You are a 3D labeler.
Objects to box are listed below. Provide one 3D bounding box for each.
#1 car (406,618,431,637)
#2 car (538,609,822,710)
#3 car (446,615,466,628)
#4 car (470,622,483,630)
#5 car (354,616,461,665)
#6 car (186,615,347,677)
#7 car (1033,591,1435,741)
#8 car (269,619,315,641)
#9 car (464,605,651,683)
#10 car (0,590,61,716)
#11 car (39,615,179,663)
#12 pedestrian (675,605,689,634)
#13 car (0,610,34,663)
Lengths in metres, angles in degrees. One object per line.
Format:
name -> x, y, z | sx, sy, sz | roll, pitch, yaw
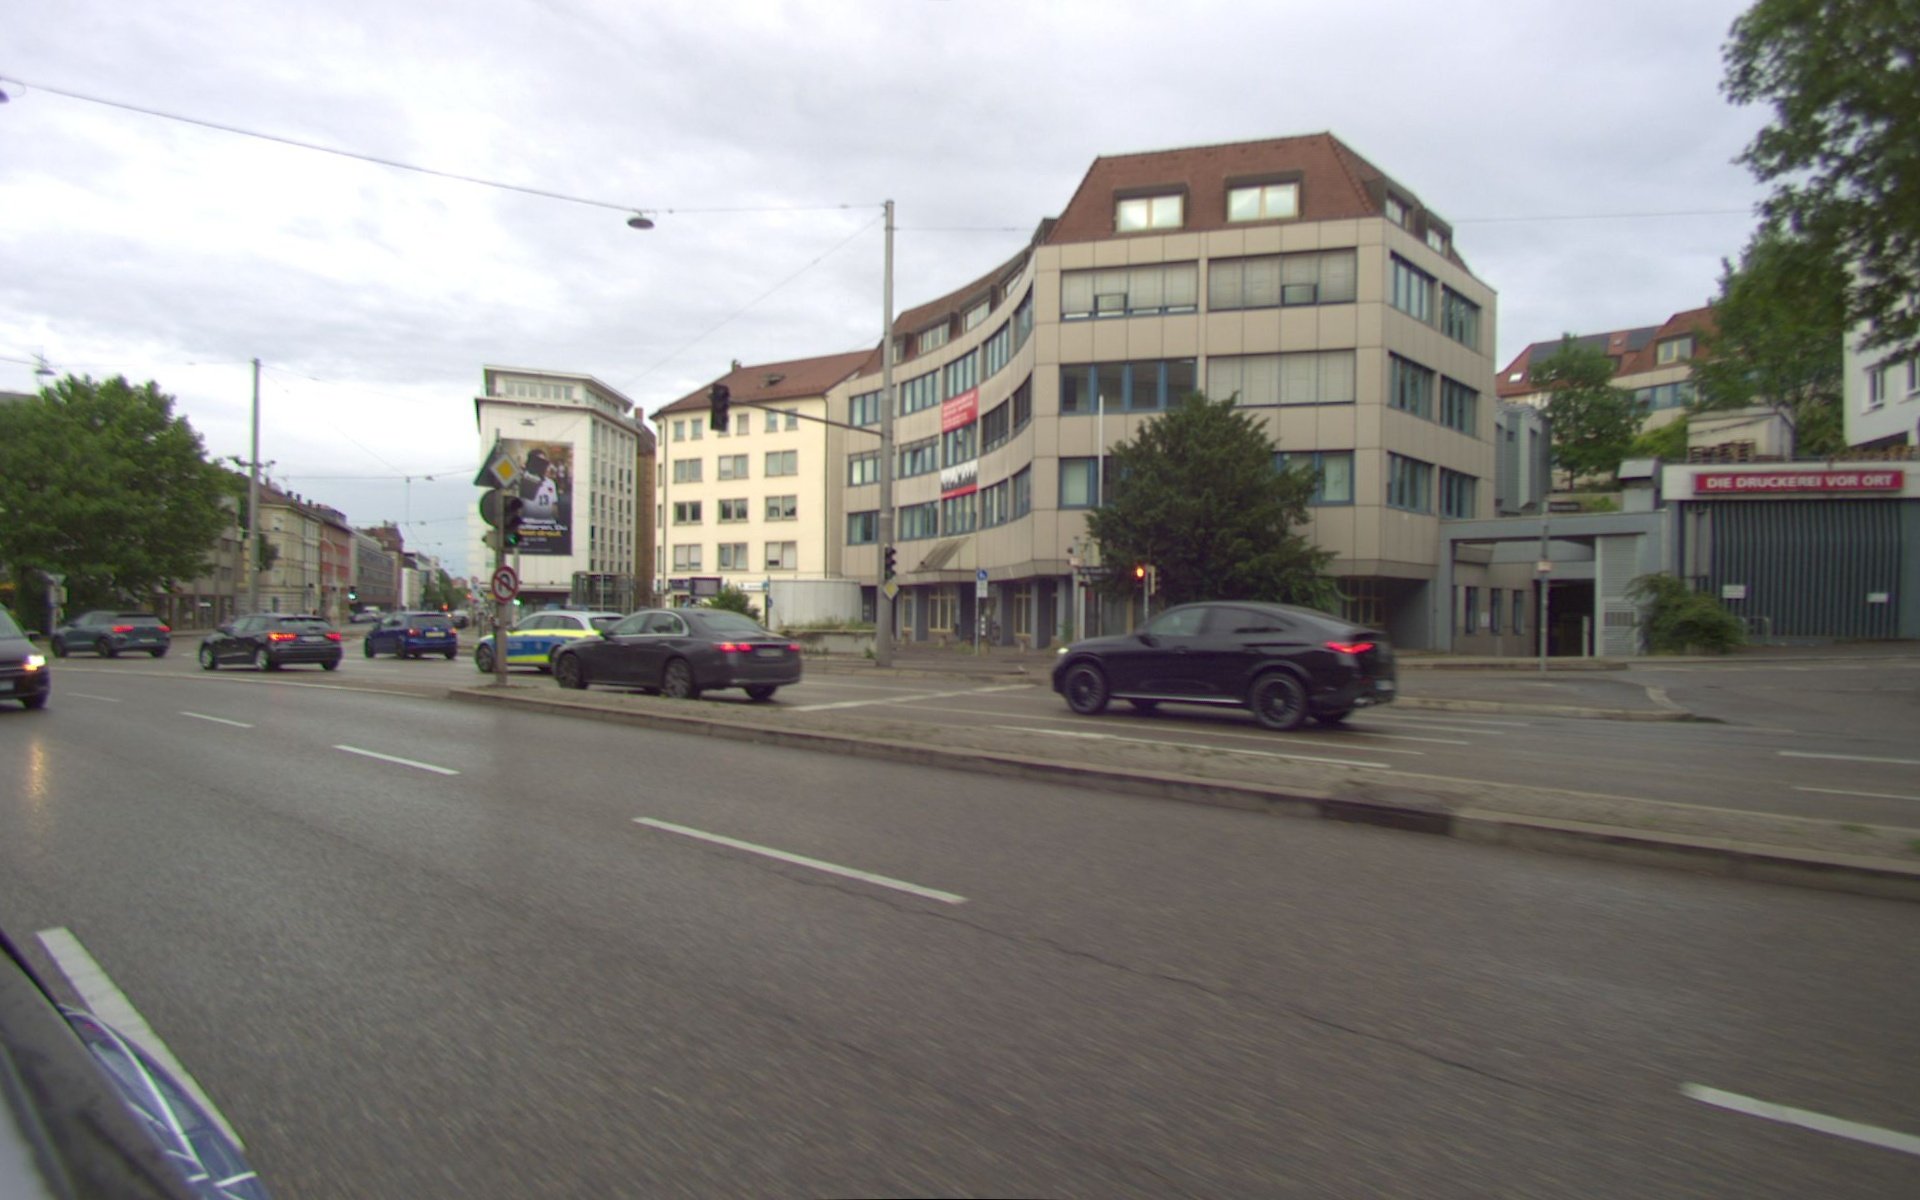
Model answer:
car -> -54.530, 2.738, 101.866 | 1.966, 1.857, 4.453 | 2, -2, -31
car -> -4.743, 0.926, 16.816 | 4.930, 1.449, 1.975 | -1, -3, 38
car -> -60.673, 2.583, 121.918 | 1.843, 1.590, 4.013 | 1, -2, -22
car -> -85.015, 4.519, 177.911 | 1.750, 1.331, 3.690 | 1, -2, -21
car -> -18.596, 1.326, 34.002 | 4.117, 1.524, 1.744 | -1, -2, 39
car -> -17.221, 1.095, 25.096 | 4.068, 1.427, 1.753 | 0, -2, 31
car -> 3.560, 0.819, 13.773 | 4.934, 1.690, 1.973 | -1, -3, 41
car -> -44.868, 2.015, 68.026 | 1.966, 1.462, 4.242 | 1, -2, -25
car -> -9.601, 0.990, 24.027 | 4.576, 1.695, 1.752 | 0, -2, 32
car -> -15.712, 0.794, 15.396 | 4.107, 1.813, 1.779 | -1, -1, 29
car -> -28.492, 1.280, 33.903 | 4.203, 1.524, 1.810 | 0, -2, 22
pedestrian -> -19.307, 1.369, 70.245 | 0.674, 2.029, 0.562 | 0, -2, 26
car -> -31.569, 1.124, 31.682 | 4.556, 1.635, 1.848 | 0, -2, 19
